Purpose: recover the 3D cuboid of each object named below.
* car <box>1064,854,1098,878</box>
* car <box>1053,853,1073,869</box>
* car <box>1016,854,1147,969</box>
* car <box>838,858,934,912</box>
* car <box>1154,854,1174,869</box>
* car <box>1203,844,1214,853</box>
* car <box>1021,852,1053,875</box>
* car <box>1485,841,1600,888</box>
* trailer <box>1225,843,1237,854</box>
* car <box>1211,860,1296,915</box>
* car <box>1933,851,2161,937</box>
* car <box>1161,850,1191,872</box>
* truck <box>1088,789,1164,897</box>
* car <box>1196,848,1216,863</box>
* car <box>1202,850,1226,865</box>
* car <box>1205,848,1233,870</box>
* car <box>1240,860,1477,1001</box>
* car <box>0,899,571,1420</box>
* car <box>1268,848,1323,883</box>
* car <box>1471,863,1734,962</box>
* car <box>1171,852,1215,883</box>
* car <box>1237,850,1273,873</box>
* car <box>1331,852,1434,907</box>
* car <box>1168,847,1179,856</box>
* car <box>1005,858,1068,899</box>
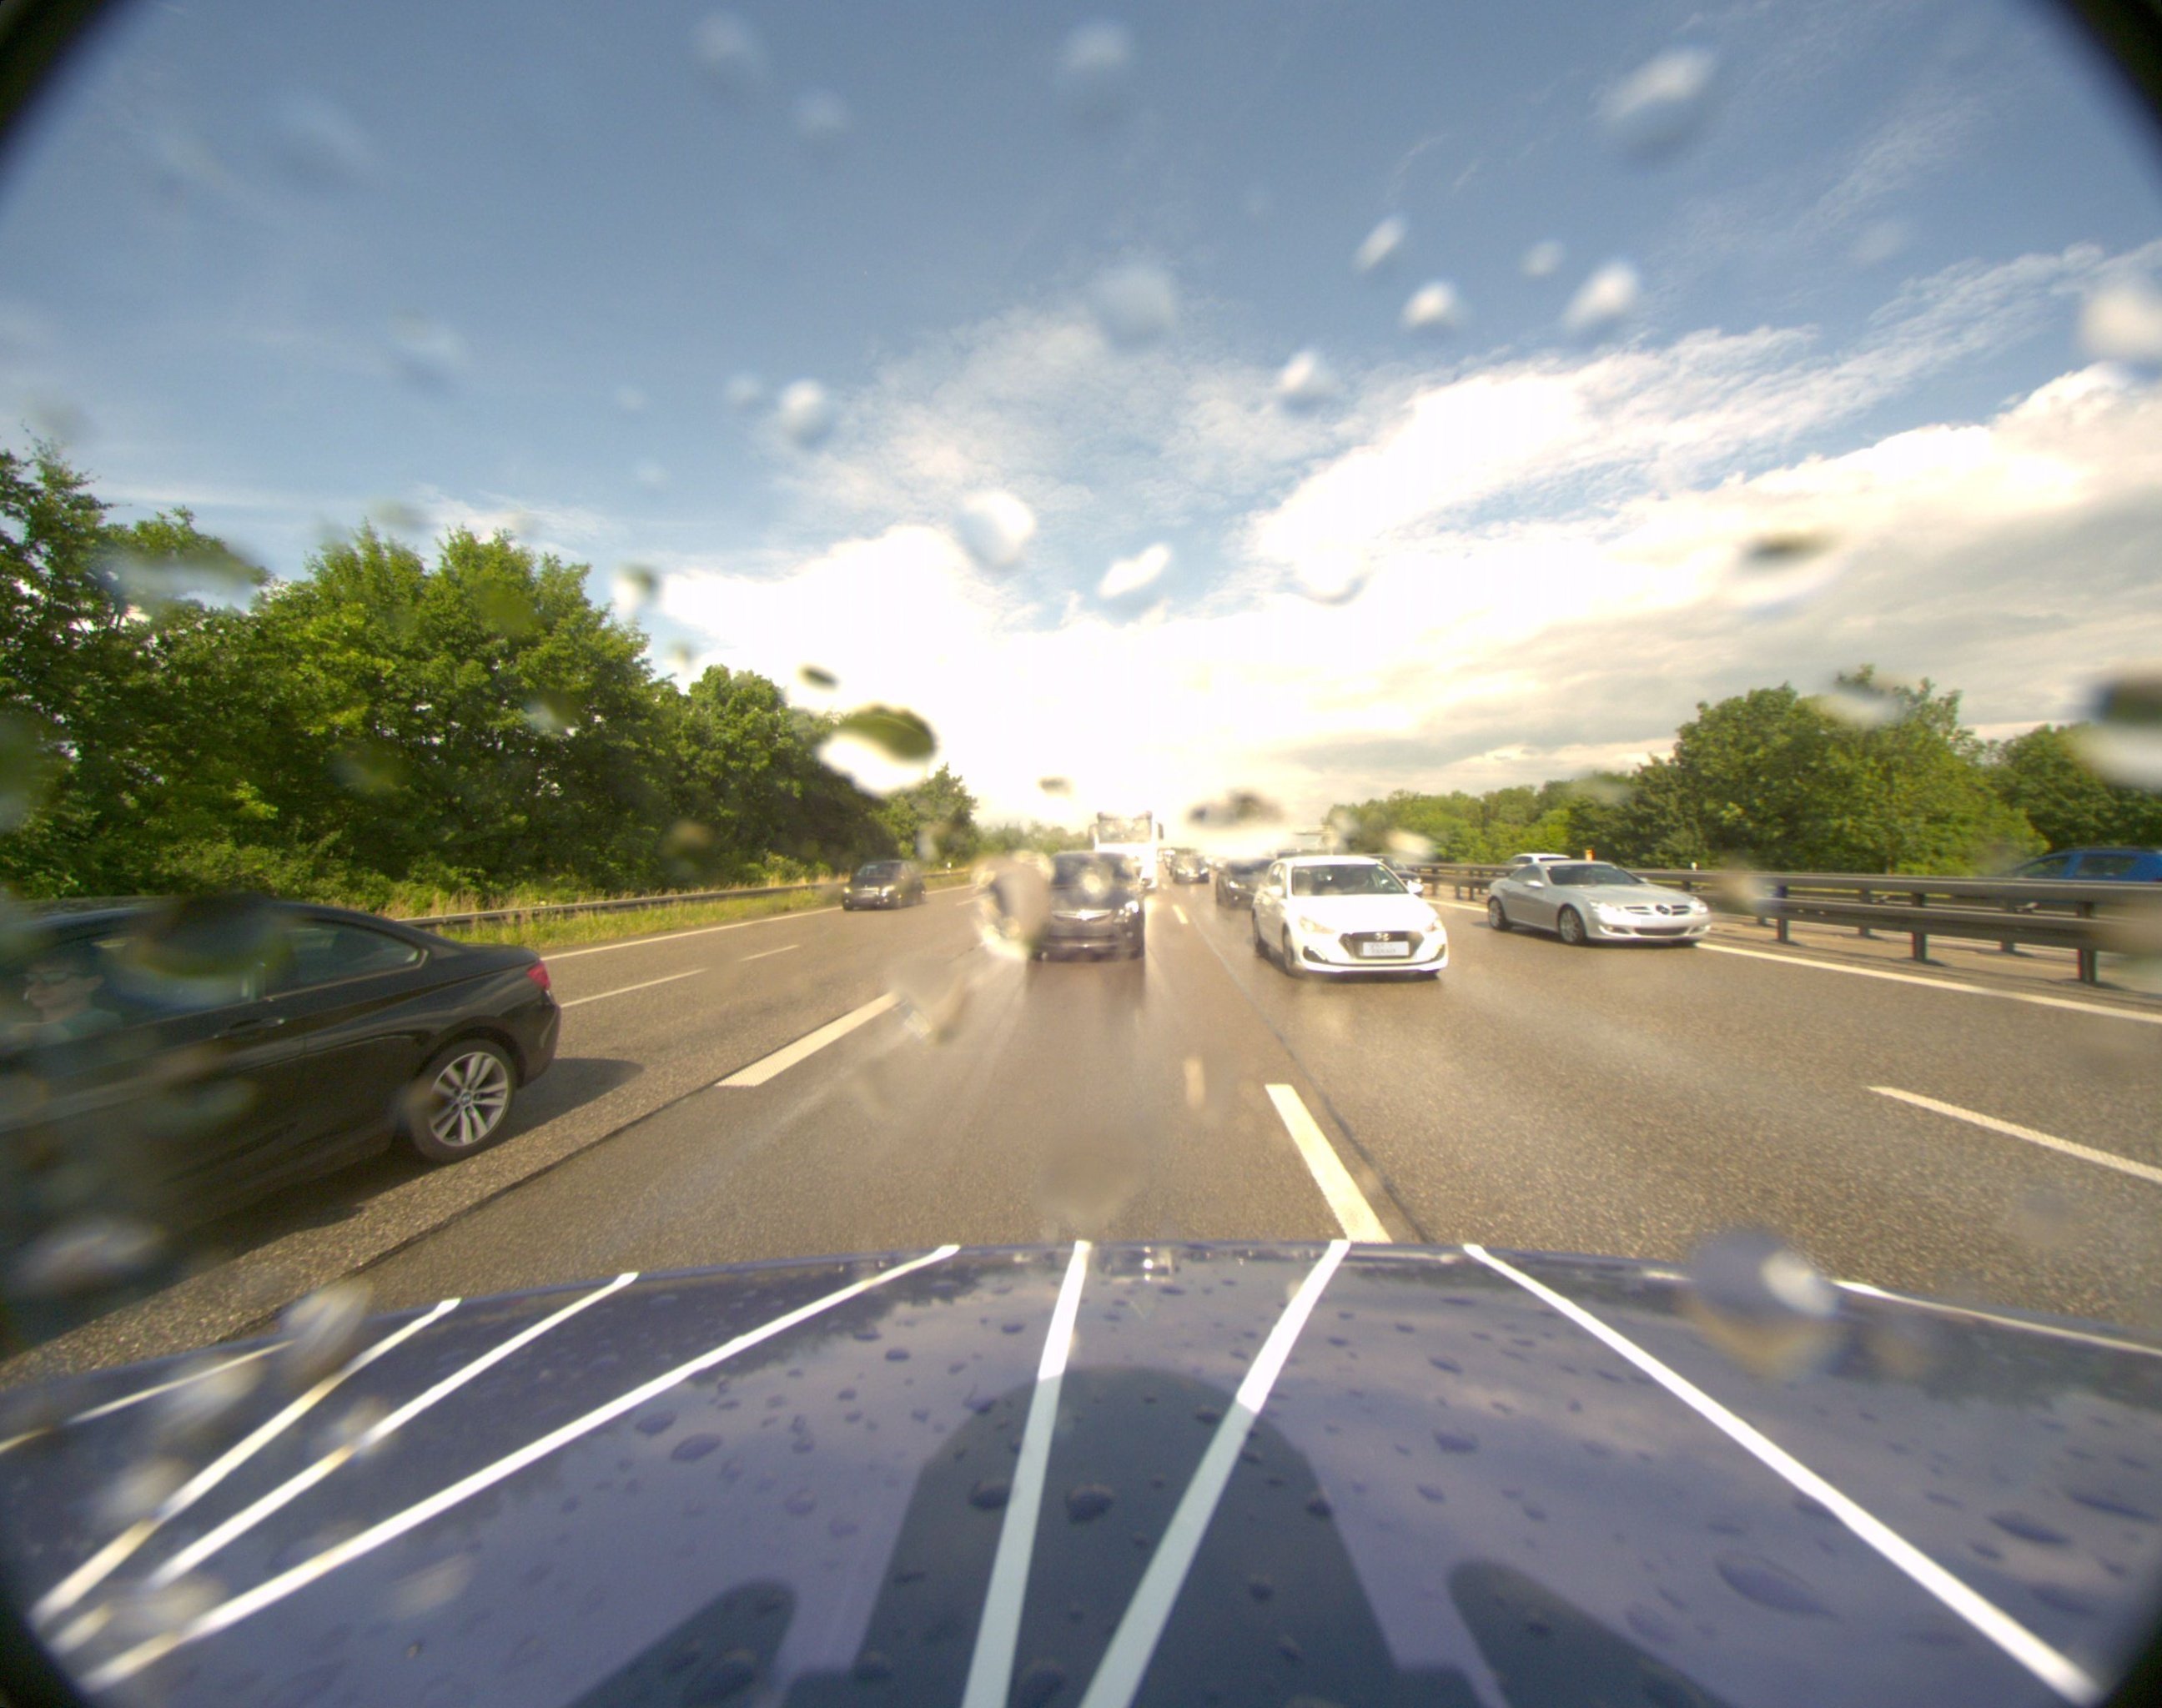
[{"bbox_3d":[0.054,0.782,52.512,1.998,1.572,4.654,-1,0,4],"label":"car"},{"bbox_3d":[-1.948,0.734,83.186,1.998,1.619,4.000,-1,0,1],"label":"car"},{"bbox_3d":[0.163,0.853,13.313,1.883,1.638,4.397,-1,0,4],"label":"car"},{"bbox_3d":[-6.291,0.946,24.988,1.852,1.559,4.001,-1,1,4],"label":"car"},{"bbox_3d":[9.202,0.803,84.331,1.998,1.471,4.000,-3,1,4],"label":"car"},{"bbox_3d":[27.542,-1.210,164.356,1.998,1.768,4.462,-1,0,5],"label":"car"},{"bbox_3d":[-3.289,0.717,57.961,1.824,1.611,4.365,-2,0,4],"label":"car"},{"bbox_3d":[17.225,0.363,28.611,1.998,1.614,4.000,-1,0,2],"label":"car"},{"bbox_3d":[47.705,-1.666,241.484,2.736,3.362,9.565,-1,0,6],"label":"trailer"},{"bbox_3d":[4.795,0.882,21.685,1.728,1.330,4.288,-1,0,4],"label":"car"},{"bbox_3d":[18.745,0.653,14.051,1.760,1.371,3.877,-1,0,4],"label":"car"},{"bbox_3d":[7.221,0.500,58.165,1.998,1.471,4.000,-3,1,4],"label":"car"},{"bbox_3d":[2.109,-0.442,33.059,2.816,4.082,7.448,-2,1,6],"label":"truck"},{"bbox_3d":[15.401,0.194,93.658,1.998,1.687,4.000,-3,1,4],"label":"car"},{"bbox_3d":[14.401,0.389,82.446,1.998,1.471,4.000,-3,1,4],"label":"car"},{"bbox_3d":[12.614,0.428,69.522,1.998,1.738,4.000,-3,1,4],"label":"car"},{"bbox_3d":[3.474,0.859,10.510,1.885,1.446,4.549,-1,0,4],"label":"car"},{"bbox_3d":[-4.254,1.032,2.611,1.852,1.455,4.257,-1,1,5],"label":"car"},{"bbox_3d":[10.589,0.546,37.793,1.874,1.597,4.230,-1,0,5],"label":"car"},{"bbox_3d":[8.189,0.832,12.446,1.728,1.270,4.064,-1,0,4],"label":"car"},{"bbox_3d":[6.052,0.689,41.392,1.998,1.477,4.000,-3,1,4],"label":"car"},{"bbox_3d":[11.904,0.484,52.242,1.771,1.371,4.000,-1,1,4],"label":"car"},{"bbox_3d":[8.993,0.701,23.007,1.770,1.417,4.140,-2,0,5],"label":"car"},{"bbox_3d":[18.375,-0.531,151.083,1.998,1.687,4.000,-3,1,4],"label":"car"},{"bbox_3d":[-1.708,0.921,30.660,1.830,1.417,4.512,-2,0,5],"label":"car"}]
